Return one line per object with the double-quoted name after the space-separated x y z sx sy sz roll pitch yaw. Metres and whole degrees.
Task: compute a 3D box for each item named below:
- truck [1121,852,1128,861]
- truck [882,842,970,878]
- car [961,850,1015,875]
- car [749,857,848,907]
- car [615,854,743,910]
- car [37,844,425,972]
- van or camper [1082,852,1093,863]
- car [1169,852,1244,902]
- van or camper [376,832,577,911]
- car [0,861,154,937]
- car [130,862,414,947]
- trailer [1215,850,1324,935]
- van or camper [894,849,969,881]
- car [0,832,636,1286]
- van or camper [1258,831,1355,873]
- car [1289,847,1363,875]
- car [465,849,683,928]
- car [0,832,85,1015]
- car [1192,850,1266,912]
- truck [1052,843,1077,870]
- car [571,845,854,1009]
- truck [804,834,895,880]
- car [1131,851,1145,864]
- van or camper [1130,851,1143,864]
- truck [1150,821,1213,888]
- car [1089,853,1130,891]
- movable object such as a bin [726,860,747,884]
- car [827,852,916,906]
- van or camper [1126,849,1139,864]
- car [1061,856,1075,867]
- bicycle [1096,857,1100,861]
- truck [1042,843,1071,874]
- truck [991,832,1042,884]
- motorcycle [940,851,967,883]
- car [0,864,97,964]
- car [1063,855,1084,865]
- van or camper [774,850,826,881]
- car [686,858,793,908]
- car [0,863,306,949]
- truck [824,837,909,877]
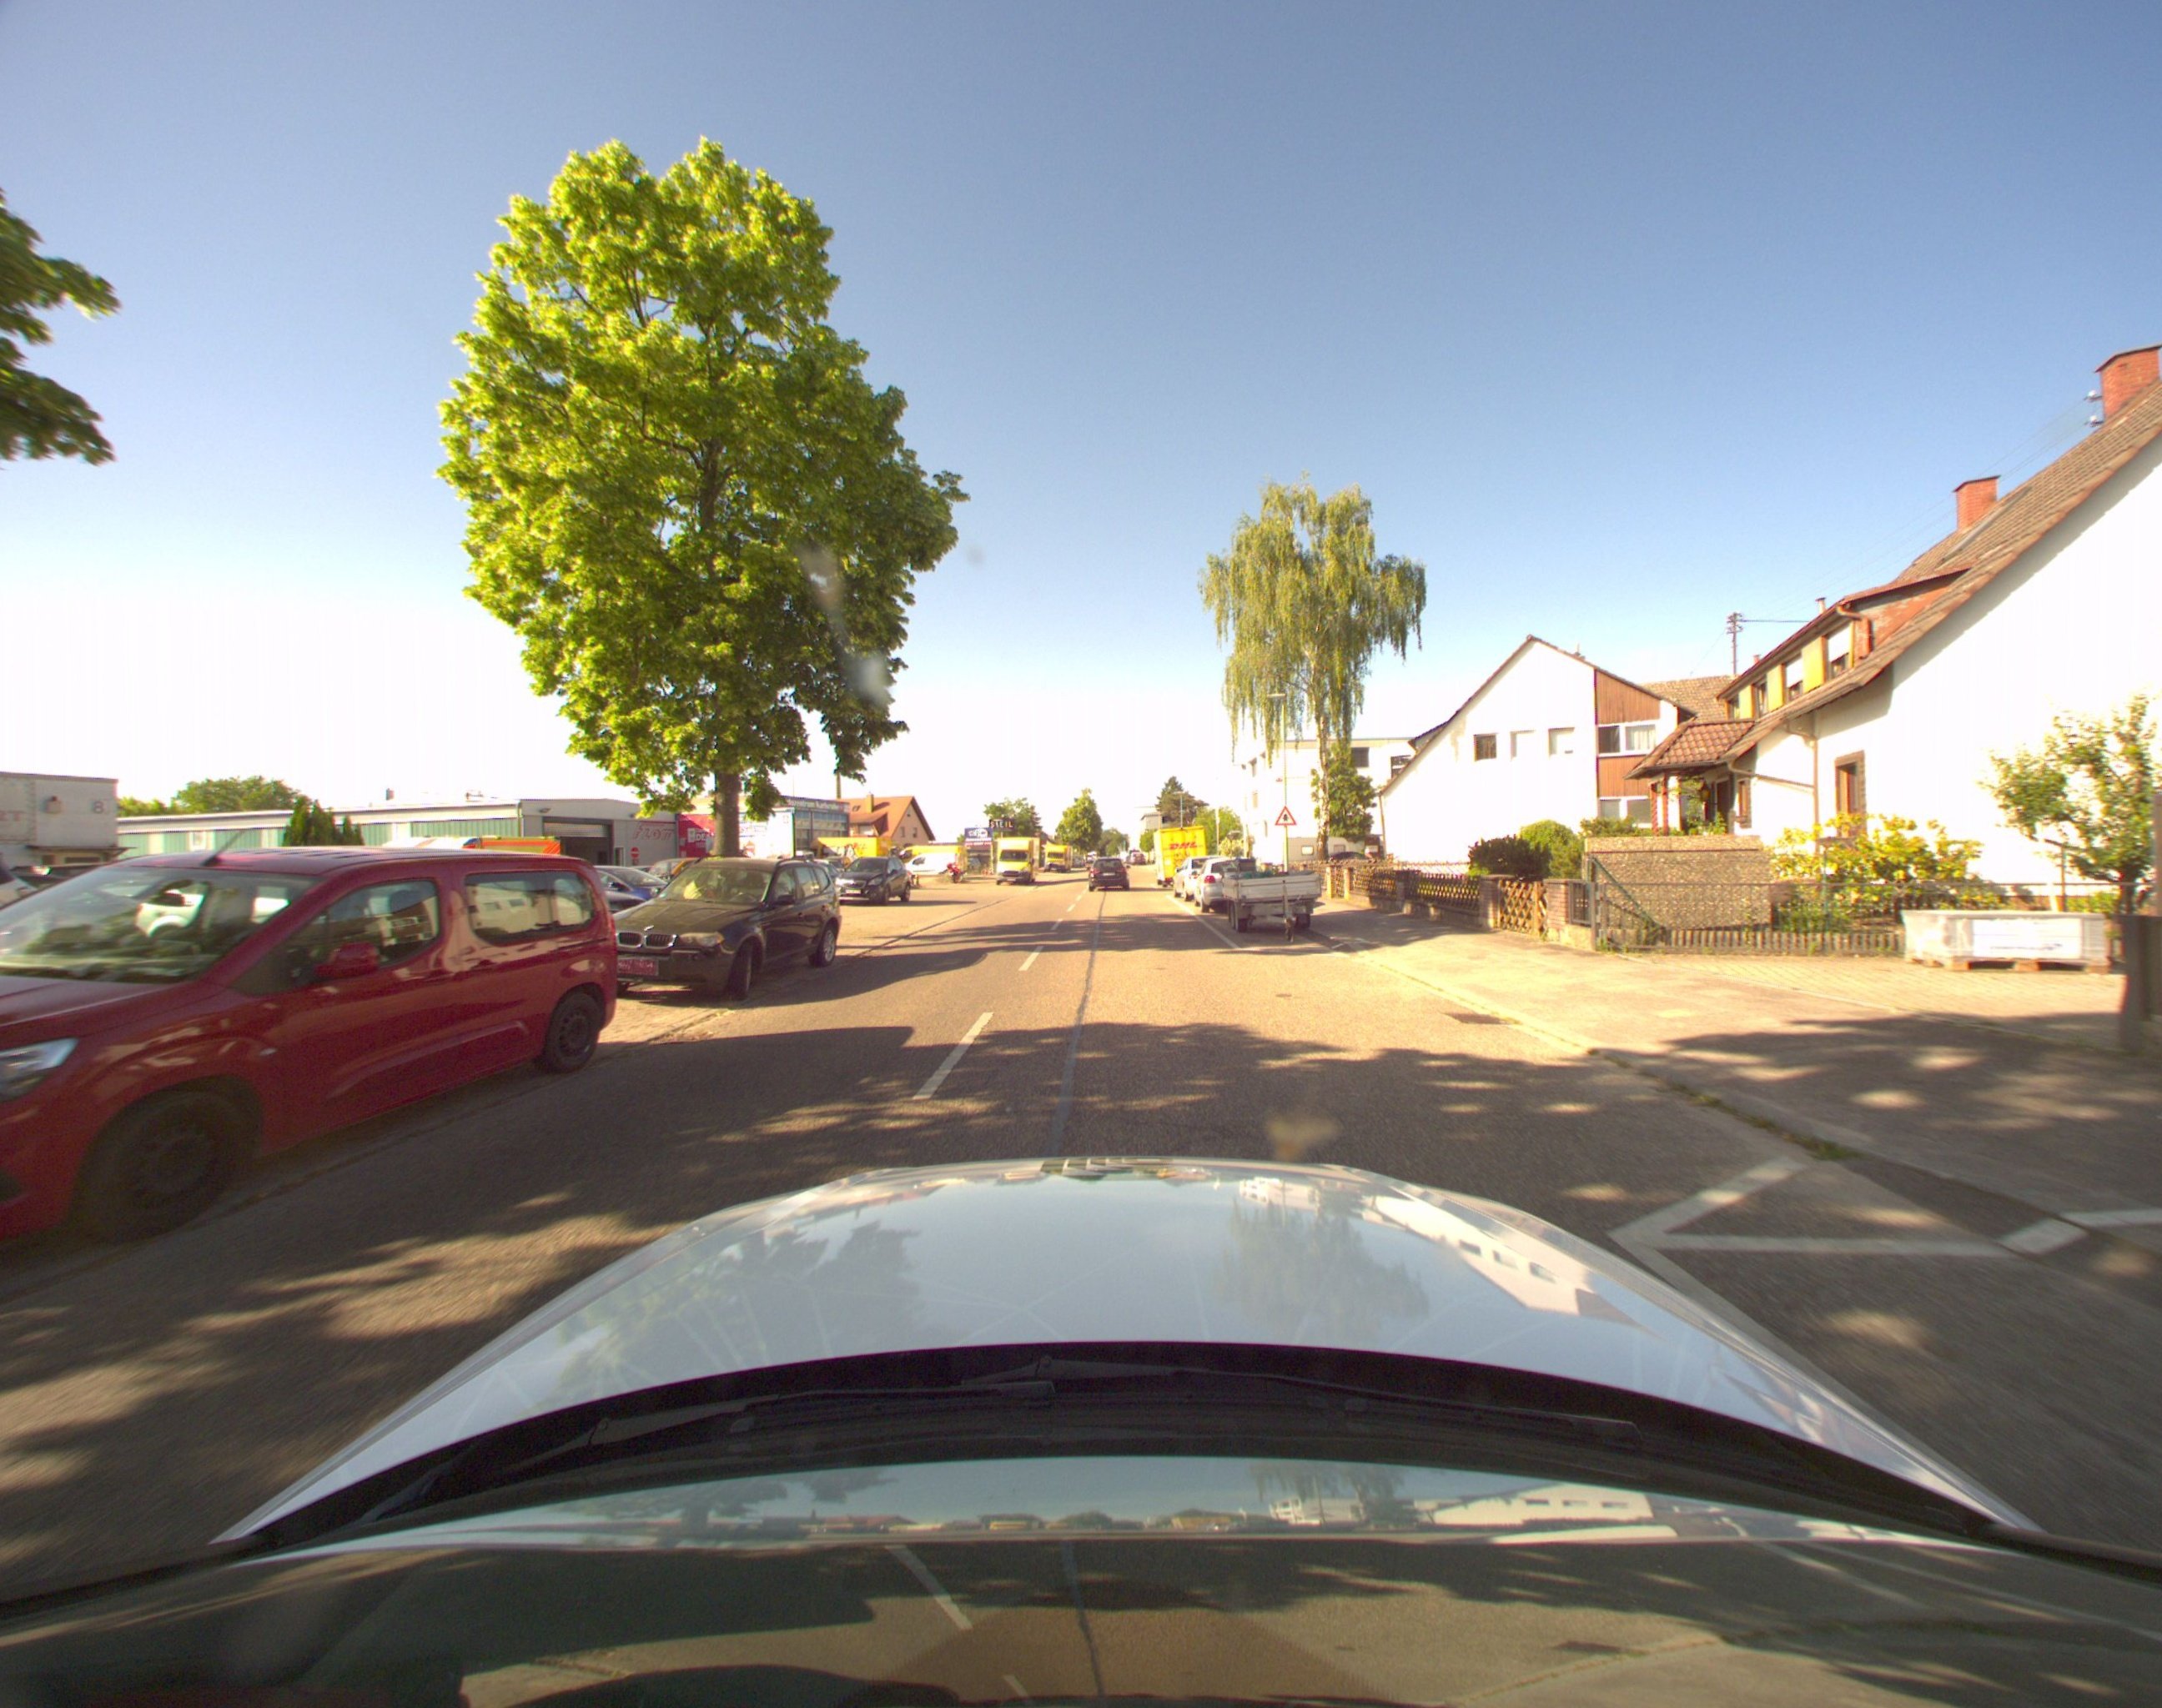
12.049 0.723 225.592 1.985 2.287 6.959 -1 0 2 "truck"
-11.260 0.426 59.292 5.880 2.567 2.232 0 0 13 "truck"
-8.060 0.710 70.517 4.221 2.013 1.874 -1 0 10 "car"
-9.789 0.925 28.637 1.854 1.590 4.278 -1 0 2 "car"
-14.253 0.935 29.178 1.764 1.748 4.180 -1 1 13 "car"
-12.870 0.776 12.495 4.230 1.728 1.768 -2 0 4 "car"
1.557 0.856 191.277 2.317 2.362 6.524 -1 0 -2 "van or camper"
4.205 0.731 27.991 1.778 1.542 4.535 -1 0 -1 "car"
-23.044 0.609 31.505 2.150 2.715 6.291 -1 0 13 "van or camper"
-24.429 1.016 18.546 1.651 1.654 4.017 -1 0 16 "car"
-16.713 0.970 17.150 1.654 1.517 4.009 -1 0 8 "car"
3.719 0.709 16.551 1.620 1.538 3.201 -1 0 3 "trailer"
-10.293 0.753 56.353 4.517 2.013 2.256 -1 0 8 "van or camper"
-4.970 0.784 5.103 1.796 1.752 4.344 1 0 3 "car"
14.507 -0.122 52.287 5.838 2.541 2.273 -1 0 -23 "van or camper"
14.868 0.419 49.453 4.002 1.618 1.798 -1 0 -22 "car"
-12.107 0.801 19.583 4.225 1.728 1.770 -2 0 8 "car"
-12.363 0.715 7.676 4.225 1.728 1.770 -2 0 8 "car"
3.964 0.675 22.351 1.666 1.542 4.050 -1 0 6 "car"
-1.818 0.322 91.809 2.183 2.902 6.444 1 0 3 "truck"
-4.687 0.794 11.222 1.668 1.771 4.557 1 0 2 "car"
-16.375 0.177 57.647 5.629 3.119 2.532 0 0 13 "truck"
8.494 0.484 120.763 1.911 1.825 4.082 -1 0 2 "car"
8.598 0.501 126.083 1.911 2.019 4.082 -1 0 2 "van or camper"
4.856 0.034 40.572 2.393 2.936 7.020 -3 0 2 "truck"
1.306 0.763 35.948 1.704 1.532 3.691 -2 0 3 "car"
-21.425 1.125 50.644 0.533 1.452 1.305 -1 0 13 "movable object such as a bin"
-7.290 0.826 28.770 1.854 1.714 4.278 2 0 2 "car"
8.290 0.383 131.211 1.986 2.310 4.002 -1 0 2 "van or camper"
-1.760 1.018 111.145 1.751 1.403 4.557 -1 0 1 "car"
4.621 1.347 221.754 0.826 1.153 2.941 -1 0 1 "bicycle"
-2.421 0.437 82.377 2.393 2.983 6.378 0 0 3 "truck"
-3.929 0.238 50.969 2.394 2.983 7.247 0 0 1 "truck"
-7.911 0.758 50.643 0.777 1.873 3.046 2 1 7 "motorcycle"
-17.426 0.939 11.625 1.654 1.517 4.009 -1 0 8 "car"
-1.221 0.946 128.072 1.883 1.485 4.015 -3 0 -22 "car"
-18.785 0.743 54.631 1.852 2.013 4.004 -1 0 4 "van or camper"
-11.912 1.017 28.713 1.854 1.590 4.277 -1 -2 2 "car"
-19.430 1.004 17.358 1.654 1.564 4.009 -1 0 8 "car"
-16.792 0.254 63.895 6.047 2.972 2.182 -1 0 15 "truck"
